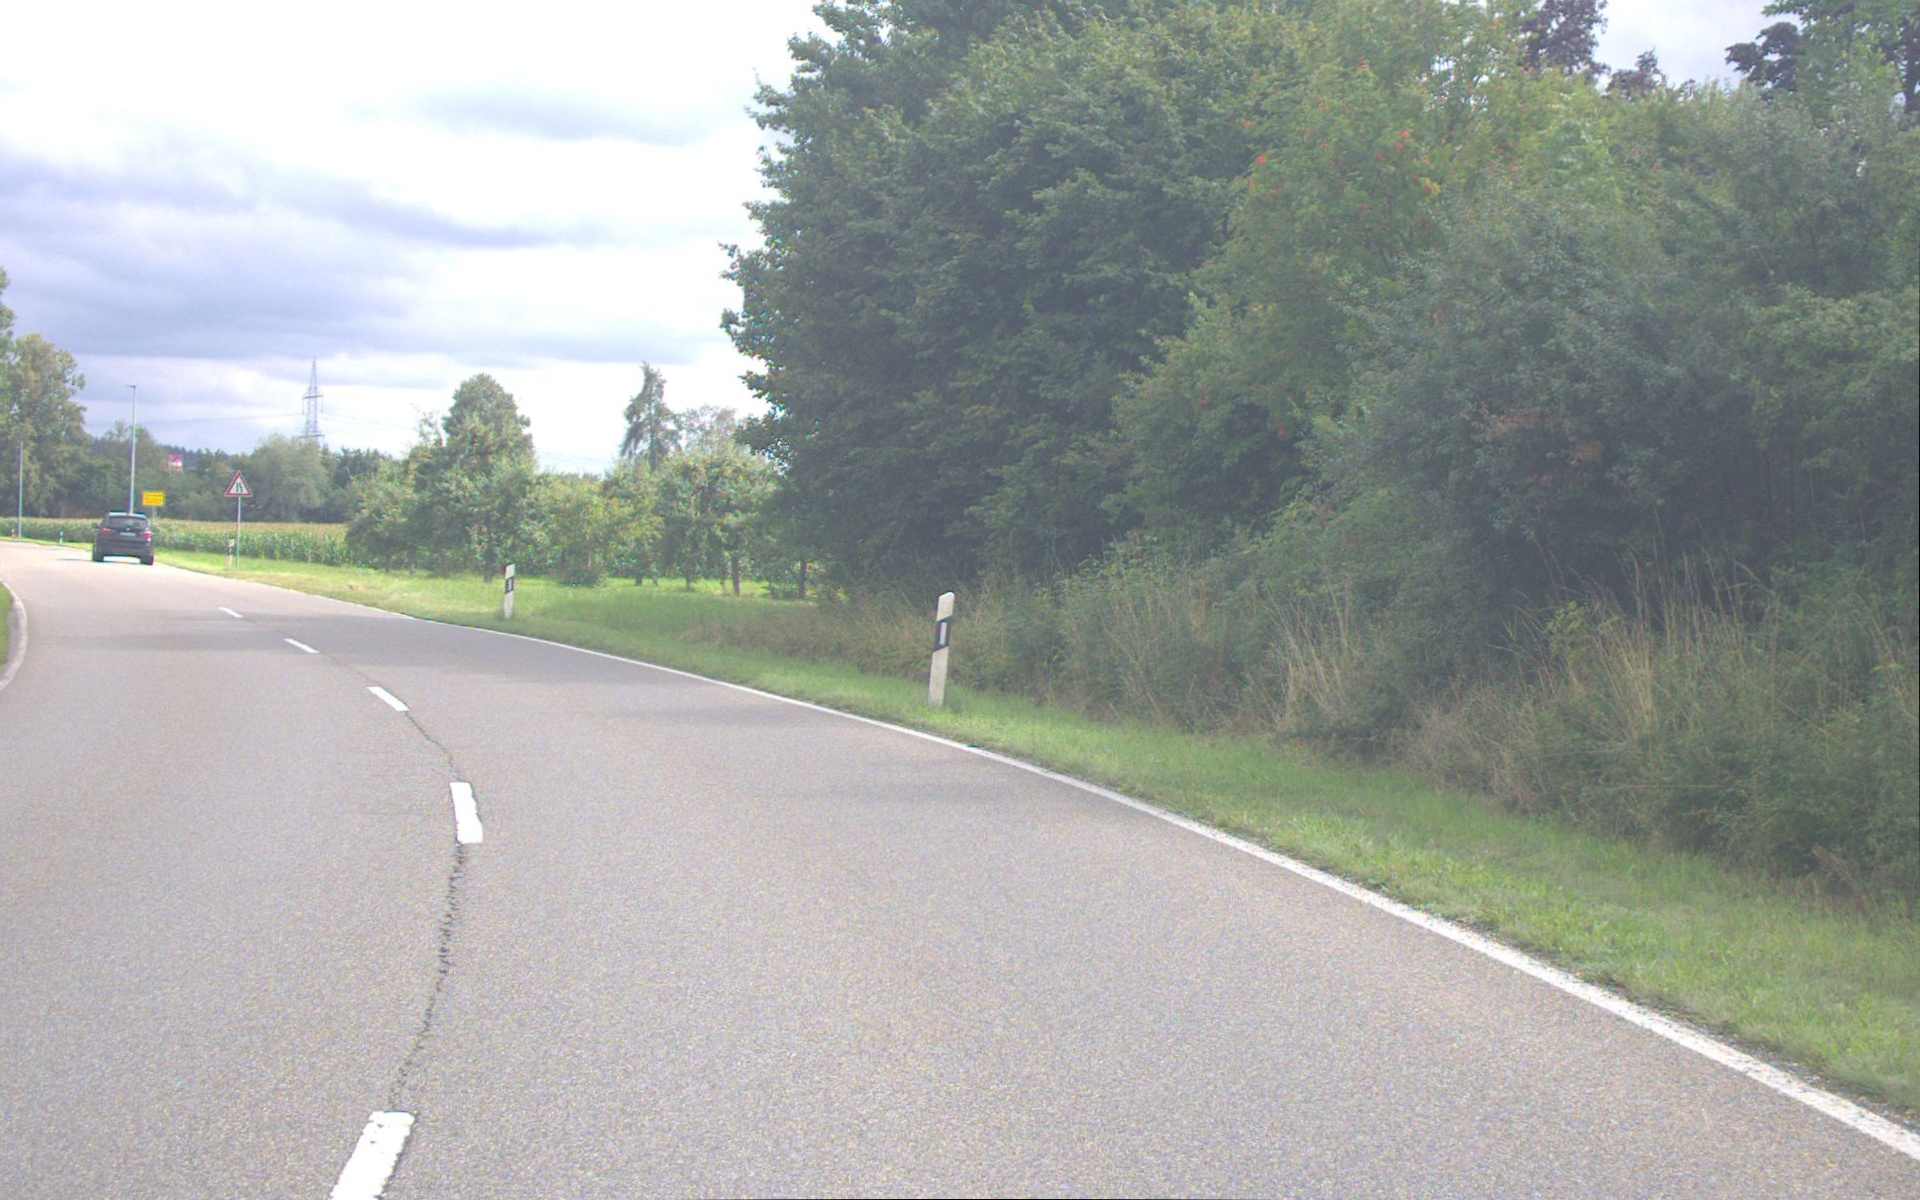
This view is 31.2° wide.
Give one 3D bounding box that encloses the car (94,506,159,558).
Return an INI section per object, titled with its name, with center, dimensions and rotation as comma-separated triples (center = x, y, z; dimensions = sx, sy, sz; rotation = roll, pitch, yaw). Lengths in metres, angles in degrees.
[car]
center = -27.866, -2.279, 114.830
dimensions = 1.906, 1.660, 4.001
rotation = 1, 1, -16
